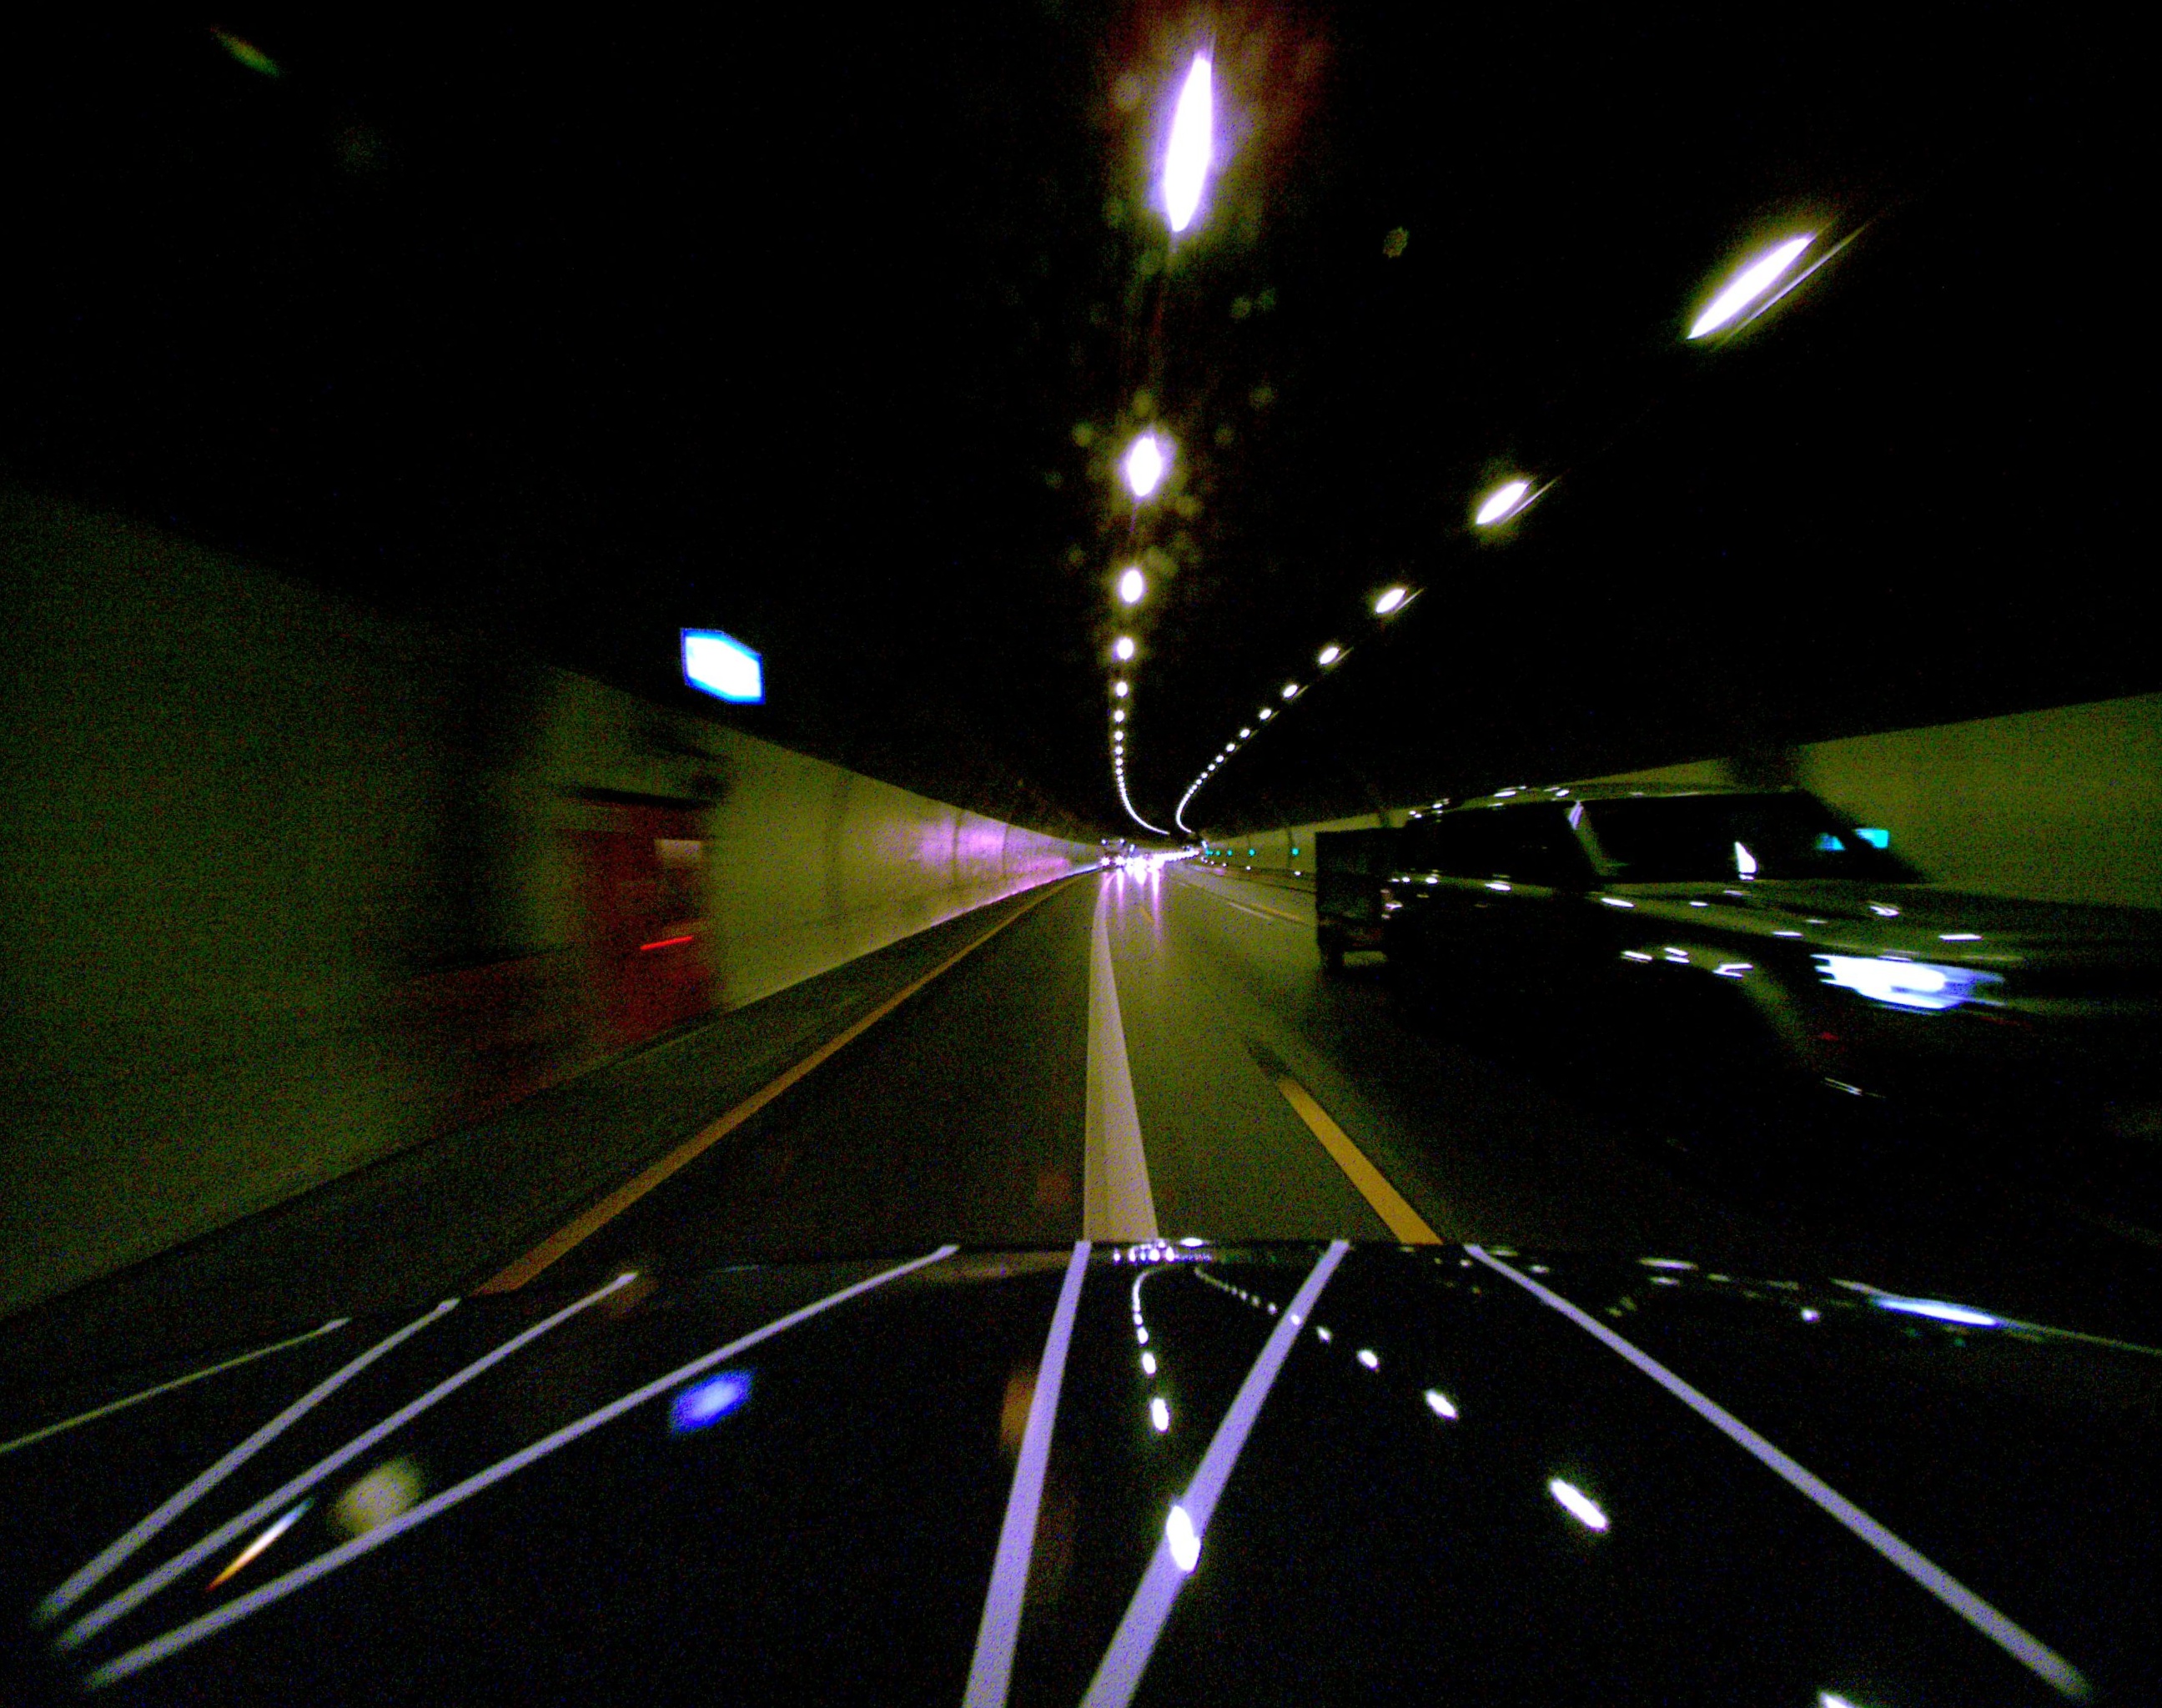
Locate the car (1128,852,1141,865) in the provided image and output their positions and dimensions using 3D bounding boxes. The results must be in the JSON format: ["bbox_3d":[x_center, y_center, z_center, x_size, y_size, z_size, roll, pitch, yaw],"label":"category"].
[{"bbox_3d":[9.238,0.796,130.338,1.997,2.002,4.002,-3,0,6],"label":"car"}]

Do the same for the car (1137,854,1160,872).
[{"bbox_3d":[6.957,0.887,78.629,2.171,1.709,4.482,-3,0,3],"label":"car"}]

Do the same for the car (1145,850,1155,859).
[{"bbox_3d":[16.092,0.052,177.286,1.997,1.917,4.387,-3,0,8],"label":"car"}]

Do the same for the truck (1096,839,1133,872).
[{"bbox_3d":[3.682,0.115,80.741,2.987,3.161,10.513,-3,0,7],"label":"truck"}]

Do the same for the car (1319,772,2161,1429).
[{"bbox_3d":[3.448,0.684,4.929,1.999,1.884,5.452,-2,0,-1],"label":"car"}]

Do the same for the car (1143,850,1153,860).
[{"bbox_3d":[14.164,0.112,160.423,1.997,2.002,4.002,-3,0,8],"label":"car"}]
